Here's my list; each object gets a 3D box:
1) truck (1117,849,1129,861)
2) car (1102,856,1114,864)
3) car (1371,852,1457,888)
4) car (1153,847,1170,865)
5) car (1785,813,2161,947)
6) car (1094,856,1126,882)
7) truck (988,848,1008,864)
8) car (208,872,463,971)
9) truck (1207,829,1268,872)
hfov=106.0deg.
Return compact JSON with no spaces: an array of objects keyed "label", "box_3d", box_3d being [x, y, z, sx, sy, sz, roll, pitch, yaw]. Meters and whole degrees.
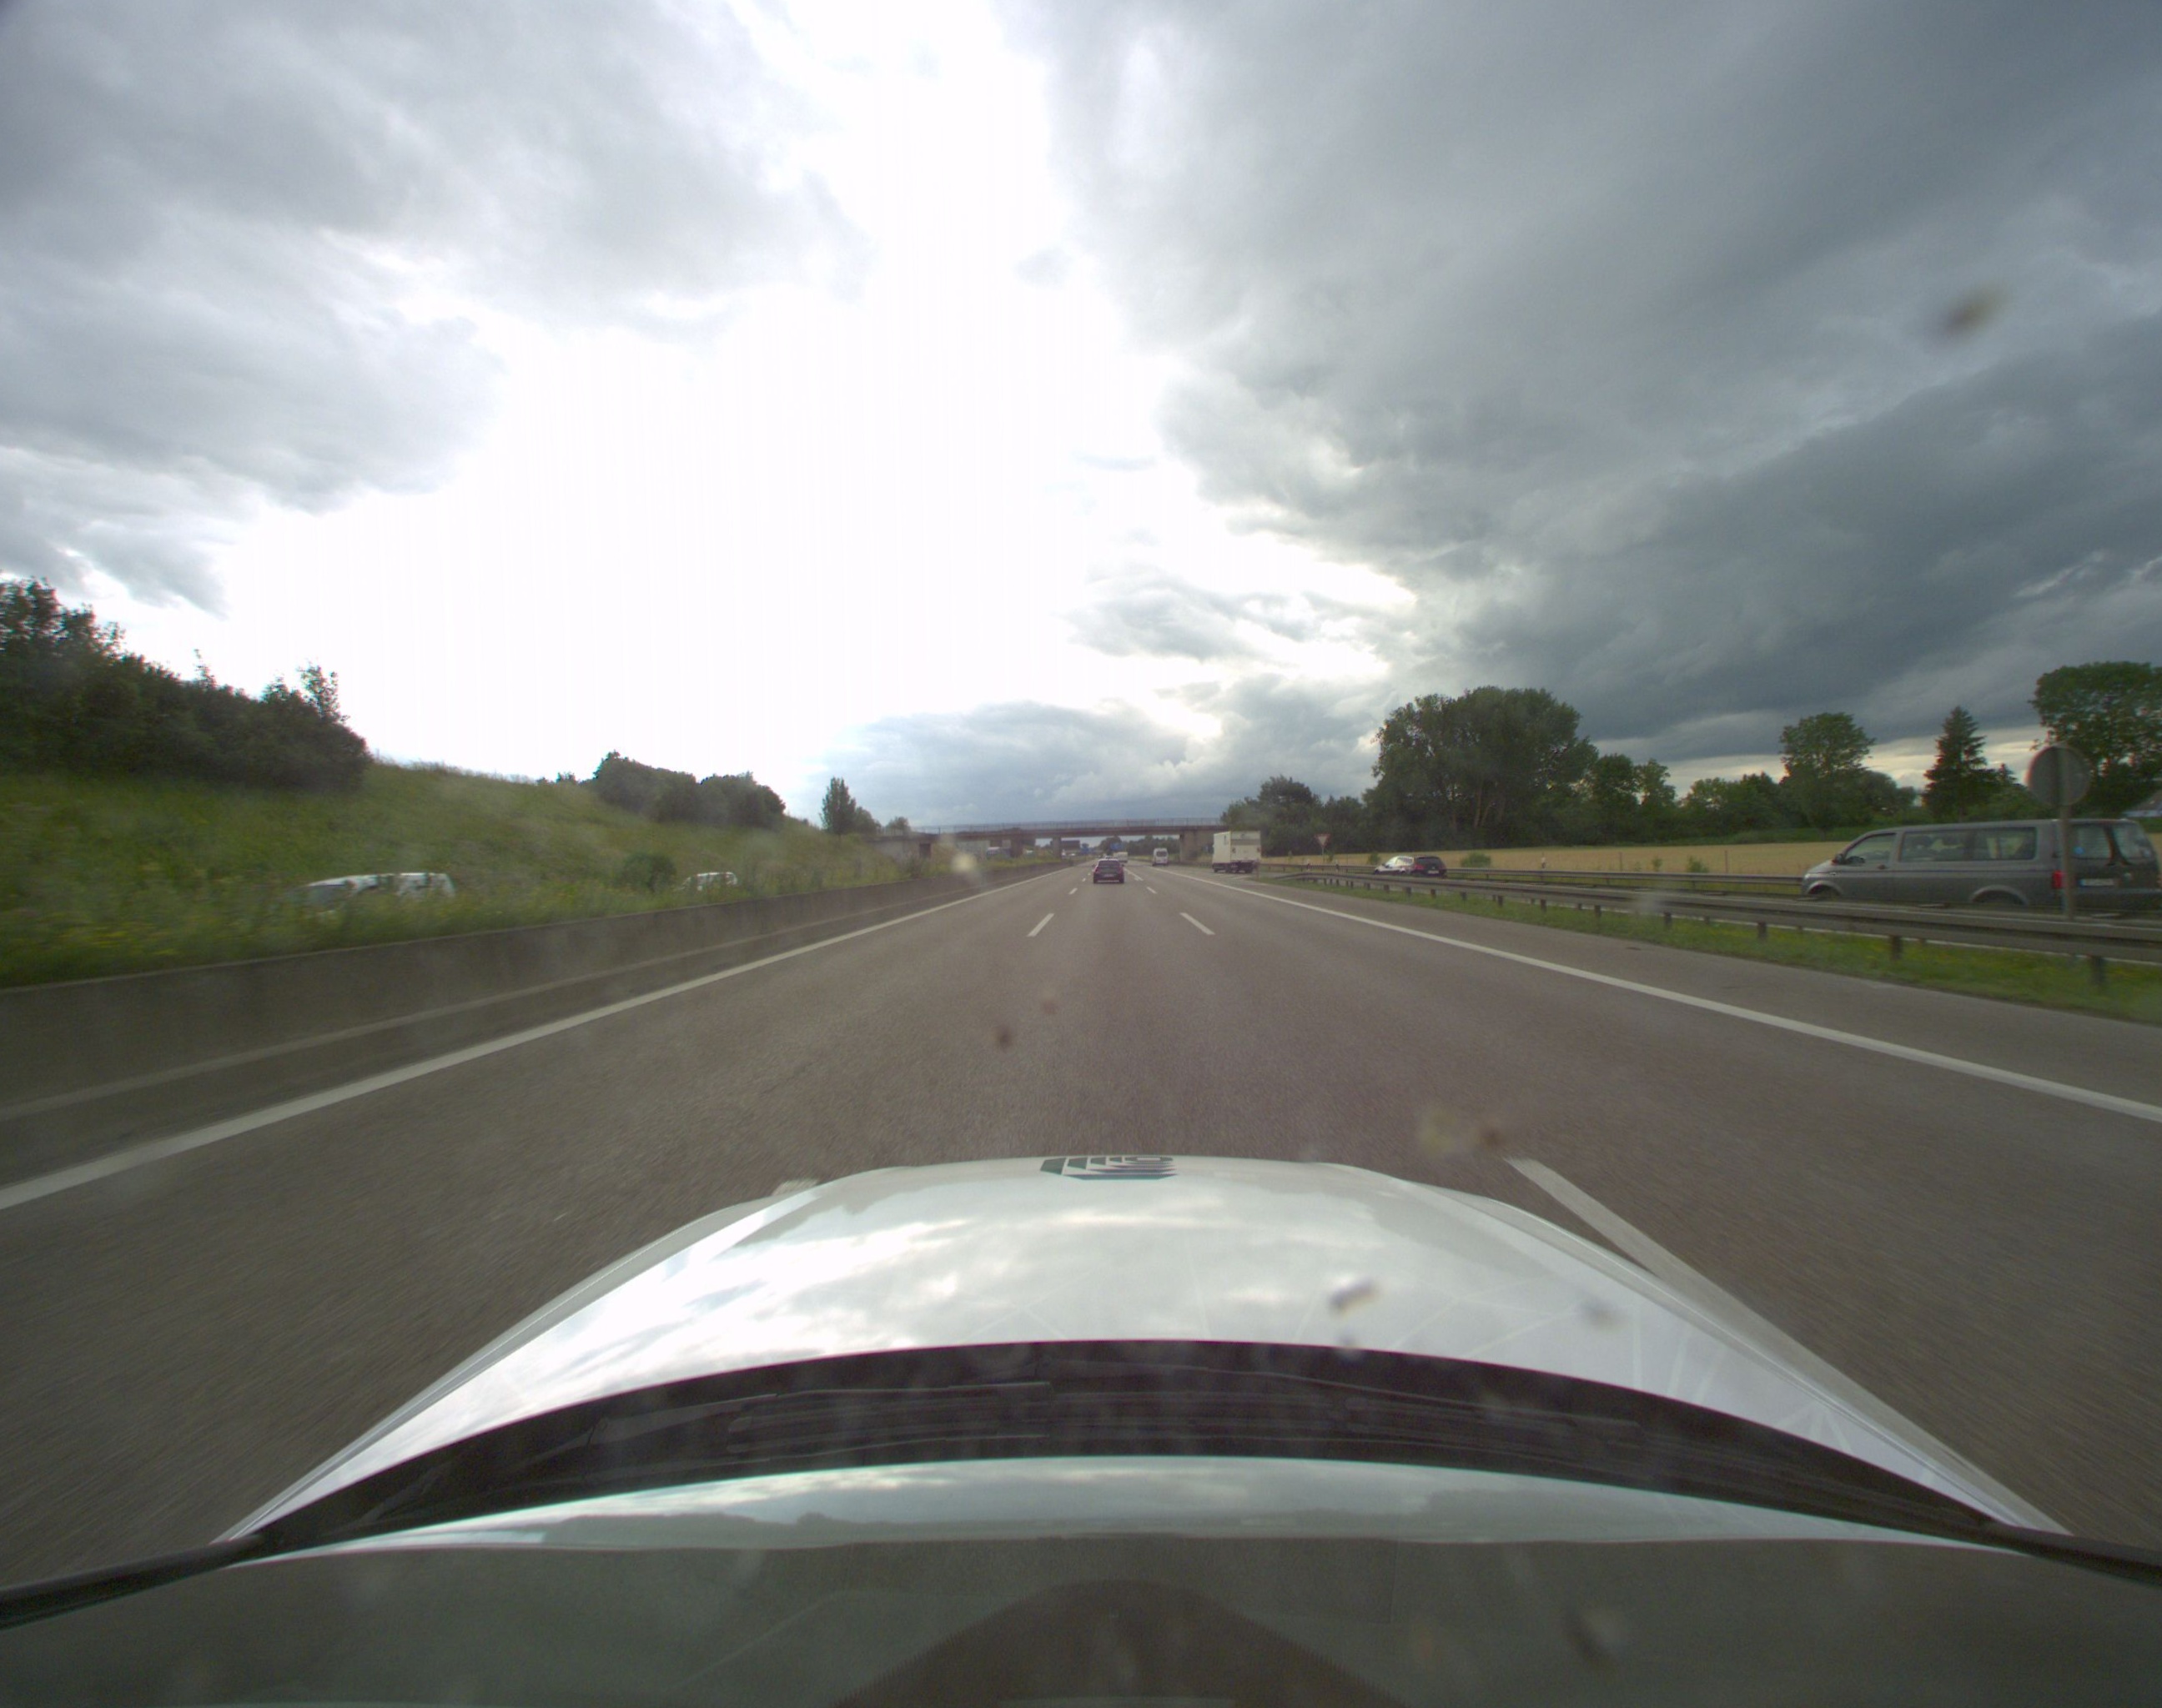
[{"label":"truck","box_3d":[10.128,0.278,197.460,2.700,2.964,12.450,0,0,2]},{"label":"car","box_3d":[4.344,0.978,131.417,1.986,1.298,4.001,-2,0,1]},{"label":"car","box_3d":[15.787,0.740,38.936,1.913,1.550,4.919,-2,0,-3]},{"label":"car","box_3d":[12.064,0.320,122.490,2.213,2.568,6.258,-1,0,2]},{"label":"car","box_3d":[16.309,0.407,15.134,2.137,2.063,4.955,-1,0,-1]},{"label":"car","box_3d":[1.664,0.842,47.279,1.737,1.389,4.002,0,0,2]},{"label":"truck","box_3d":[-14.973,0.384,147.305,2.899,2.946,6.118,0,0,2]},{"label":"car","box_3d":[-15.816,1.327,17.624,1.593,1.757,4.121,-2,0,1]},{"label":"truck","box_3d":[13.385,-0.256,70.544,3.098,3.471,8.879,0,0,-4]}]
